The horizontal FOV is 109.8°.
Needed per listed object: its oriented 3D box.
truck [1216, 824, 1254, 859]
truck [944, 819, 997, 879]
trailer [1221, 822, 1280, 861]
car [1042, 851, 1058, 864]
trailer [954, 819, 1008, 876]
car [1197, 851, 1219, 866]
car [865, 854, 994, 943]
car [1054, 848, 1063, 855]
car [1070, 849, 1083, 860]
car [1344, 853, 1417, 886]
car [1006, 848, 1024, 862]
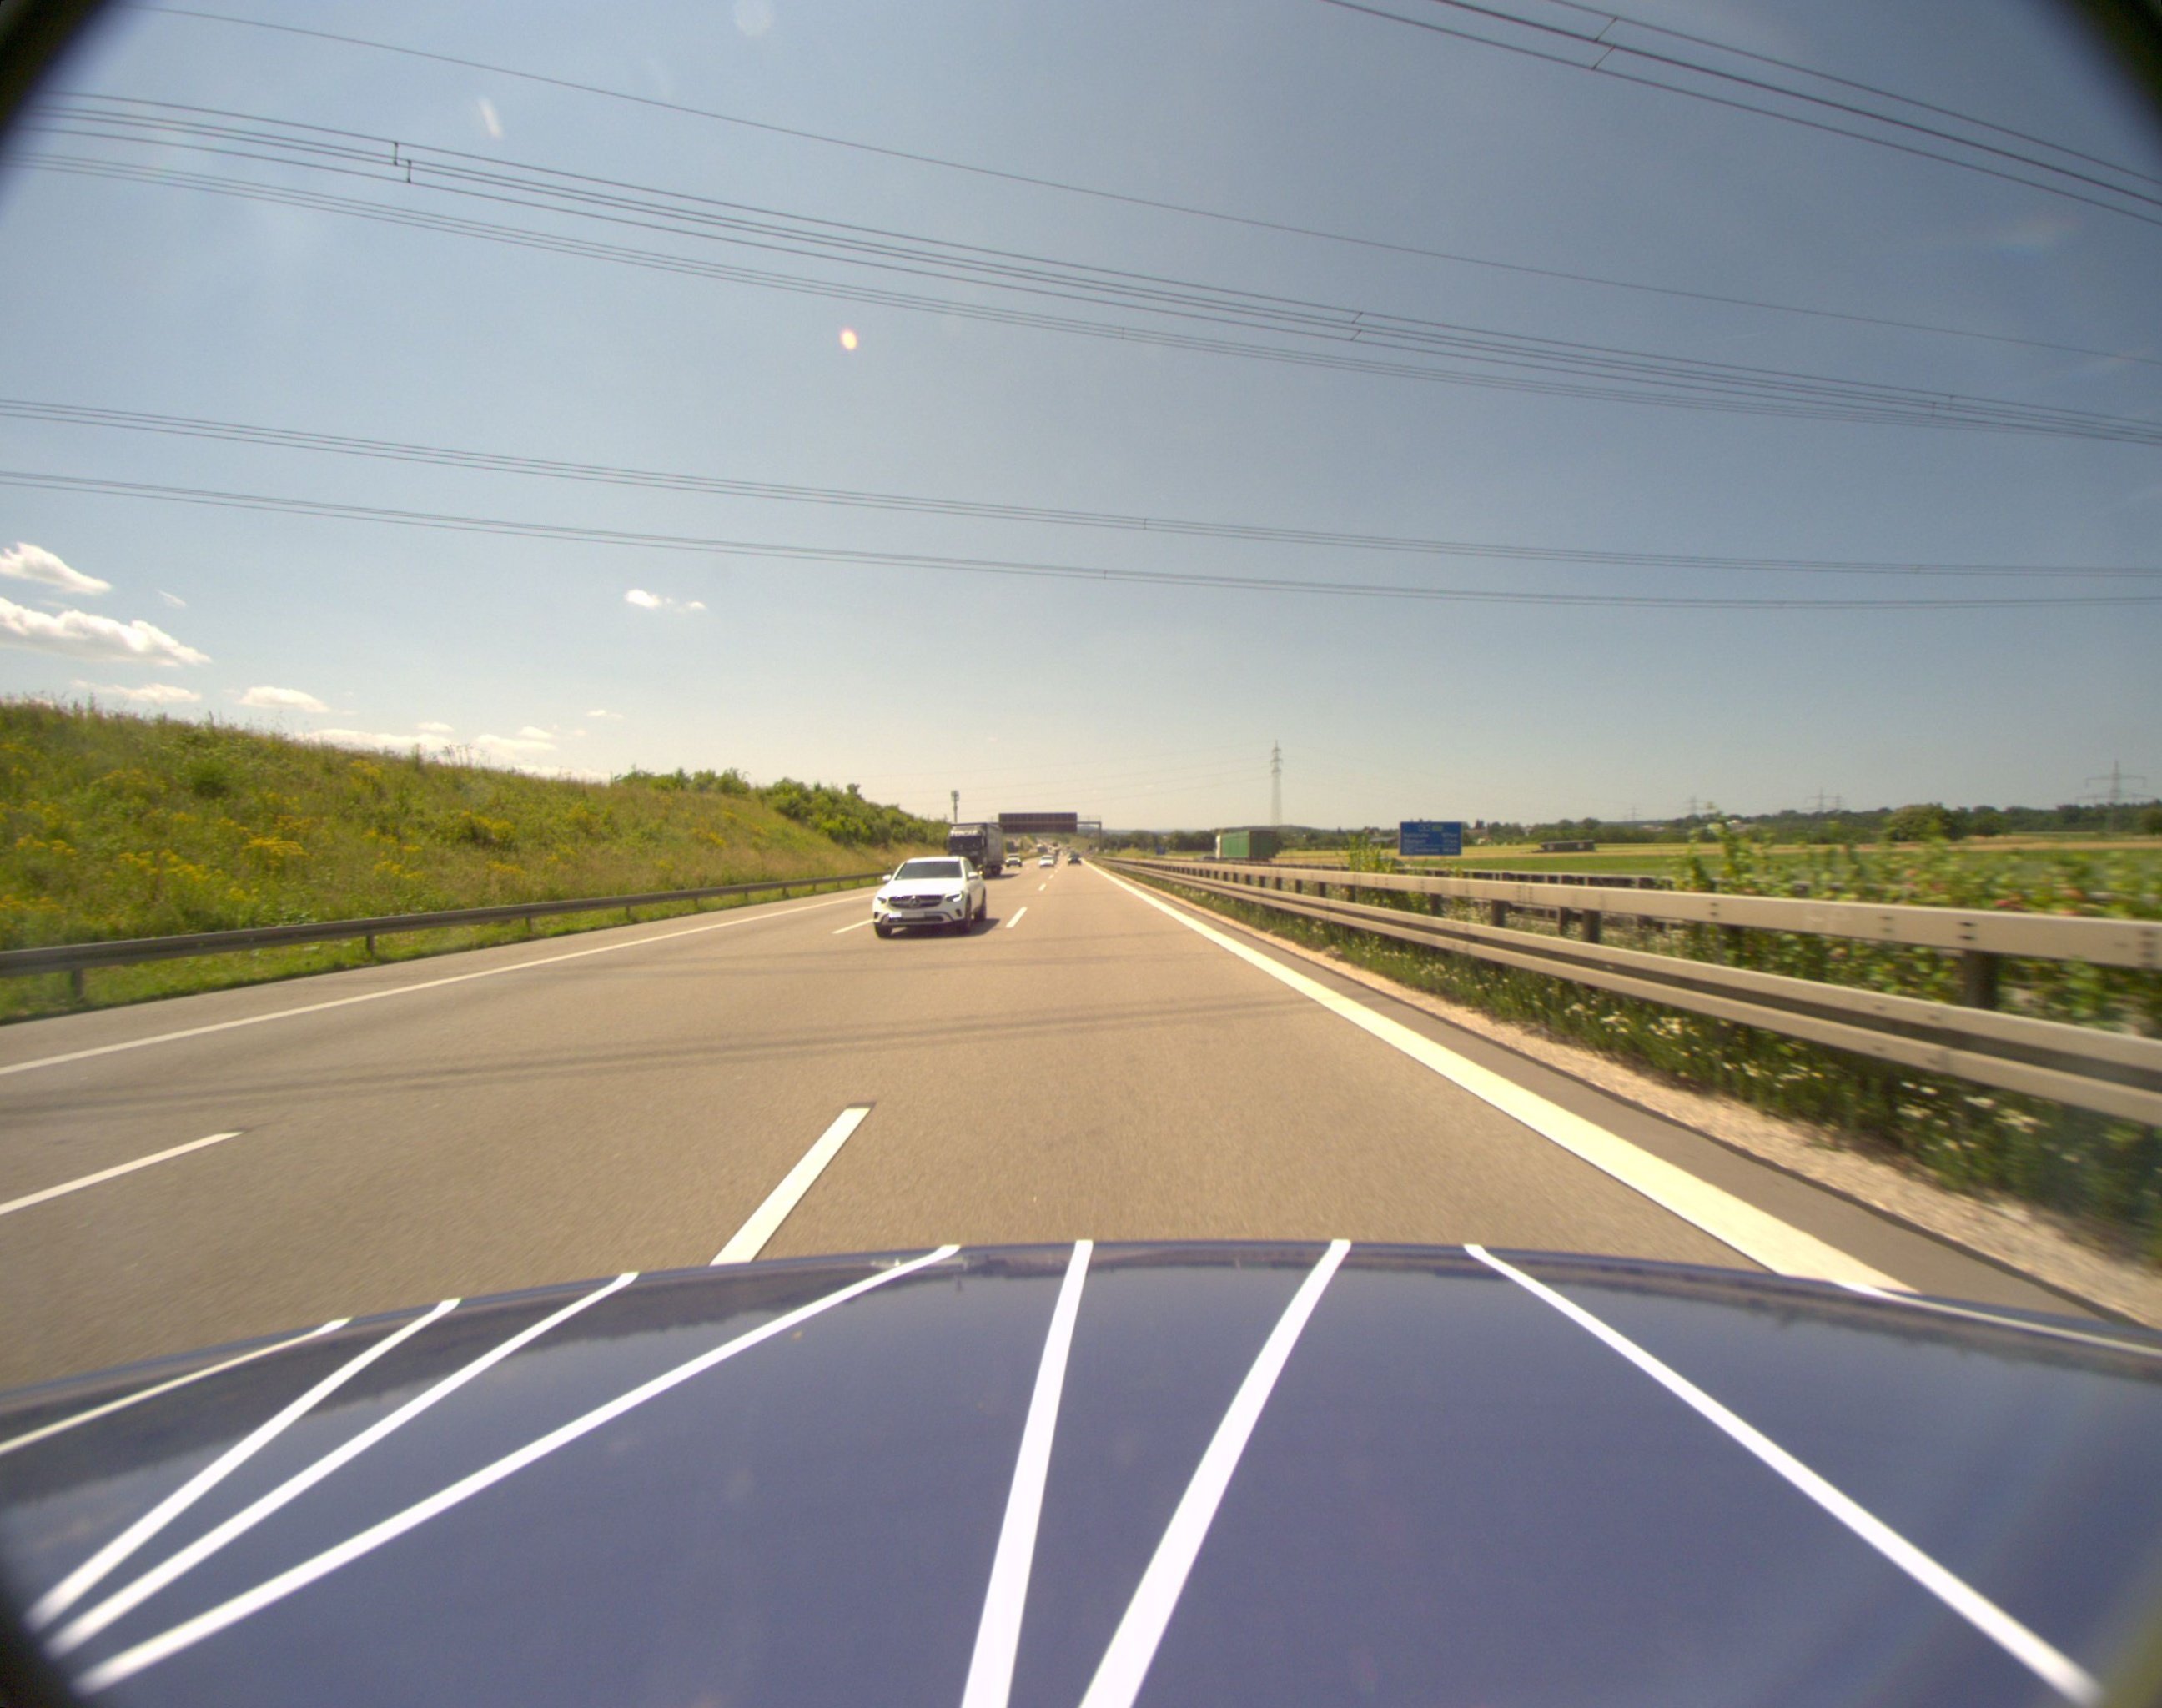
[{"bbox_3d":[16.913,-1.377,83.885,2.730,3.539,5.898,-2,1,-1],"label":"truck"},{"bbox_3d":[-7.855,-0.411,55.061,2.759,3.997,6.786,-2,1,-1],"label":"truck"},{"bbox_3d":[17.063,-1.290,77.537,2.761,3.573,12.532,-2,1,-1],"label":"trailer"},{"bbox_3d":[-3.841,0.376,94.115,1.780,1.425,4.689,-2,1,-1],"label":"car"},{"bbox_3d":[-7.922,-0.578,61.716,2.732,4.131,11.805,-2,1,0],"label":"trailer"},{"bbox_3d":[13.090,0.410,78.501,1.638,1.456,4.000,1,0,0],"label":"car"},{"bbox_3d":[-3.235,0.873,17.385,1.919,1.571,5.229,-2,1,-1],"label":"car"},{"bbox_3d":[-5.093,-0.557,171.026,1.751,1.559,3.998,-2,1,-2],"label":"car"},{"bbox_3d":[-0.644,0.063,107.185,1.751,1.439,3.999,-2,1,-2],"label":"car"},{"bbox_3d":[13.835,0.686,35.298,1.728,1.425,3.999,1,0,-1],"label":"car"},{"bbox_3d":[-8.959,0.069,103.664,2.040,1.794,4.249,-2,1,-1],"label":"car"}]
